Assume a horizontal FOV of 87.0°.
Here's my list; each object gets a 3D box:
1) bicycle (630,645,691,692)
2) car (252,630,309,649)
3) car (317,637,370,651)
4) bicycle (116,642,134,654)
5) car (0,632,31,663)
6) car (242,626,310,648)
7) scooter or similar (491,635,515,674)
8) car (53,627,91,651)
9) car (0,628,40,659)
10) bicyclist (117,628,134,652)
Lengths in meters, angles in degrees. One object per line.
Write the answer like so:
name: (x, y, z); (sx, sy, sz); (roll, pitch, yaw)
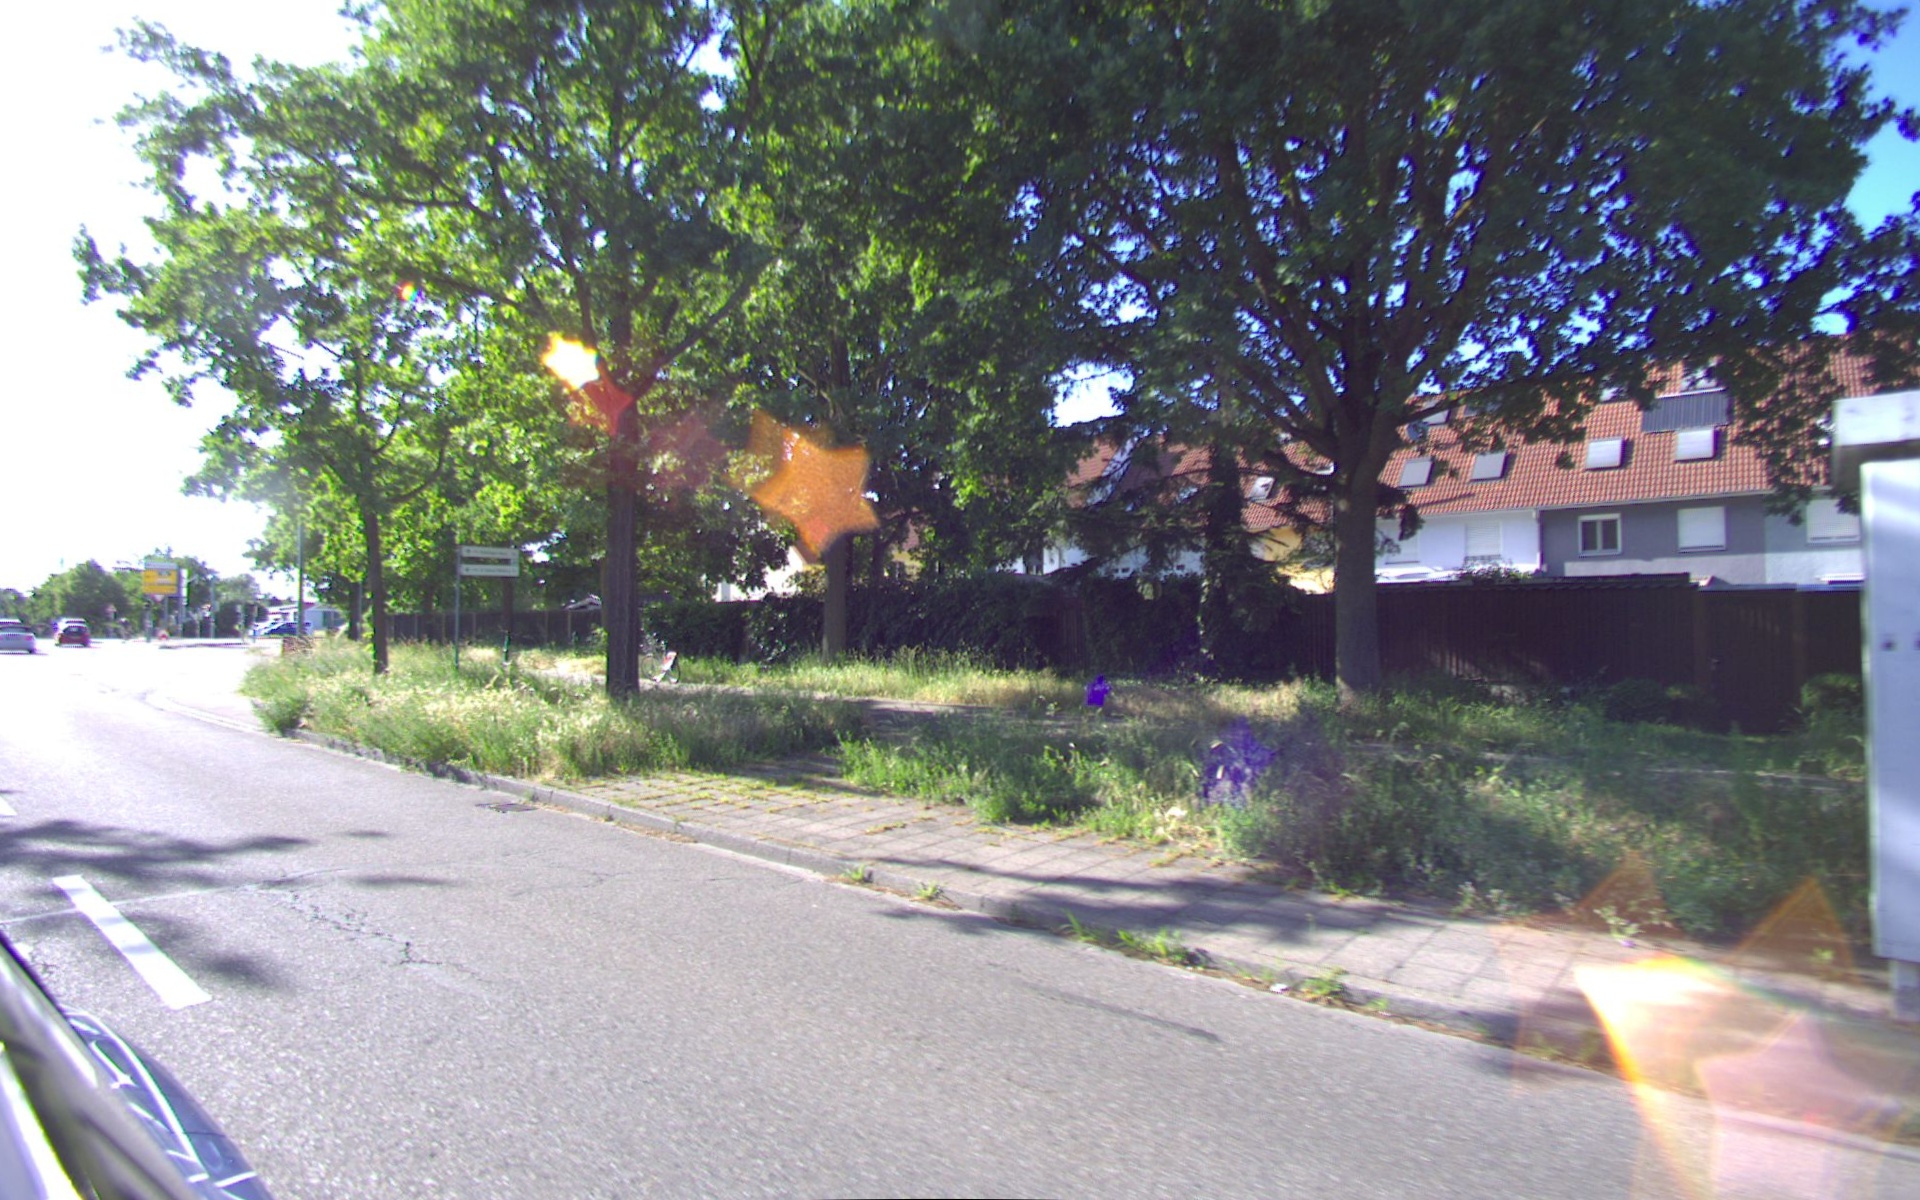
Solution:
bicycle: (-7.166, 1.624, 24.159); (1.879, 1.061, 0.500); (-2, -3, 42)
car: (-62.589, 3.687, 93.283); (1.892, 1.657, 3.984); (-5, -6, 41)
car: (-59.264, 4.254, 97.272); (1.892, 1.284, 3.984); (-5, -6, 41)
bicycle: (-59.265, 3.412, 71.820); (1.991, 0.854, 0.740); (-2, -4, 45)
car: (-51.094, 2.532, 54.061); (1.970, 1.628, 4.533); (3, -4, -45)
car: (-66.888, 3.678, 99.056); (2.047, 2.029, 5.203); (-5, -6, 41)
scooter or similar: (-14.872, 1.759, 32.922); (0.531, 1.228, 1.417); (0, -3, -32)
car: (-57.134, 2.545, 65.118); (1.626, 1.494, 3.716); (3, -4, -44)
car: (-47.036, 2.169, 50.076); (1.970, 1.461, 4.401); (3, -4, -45)
bicyclist: (-59.261, 2.824, 71.860); (1.242, 1.715, 0.736); (-2, -4, 45)
